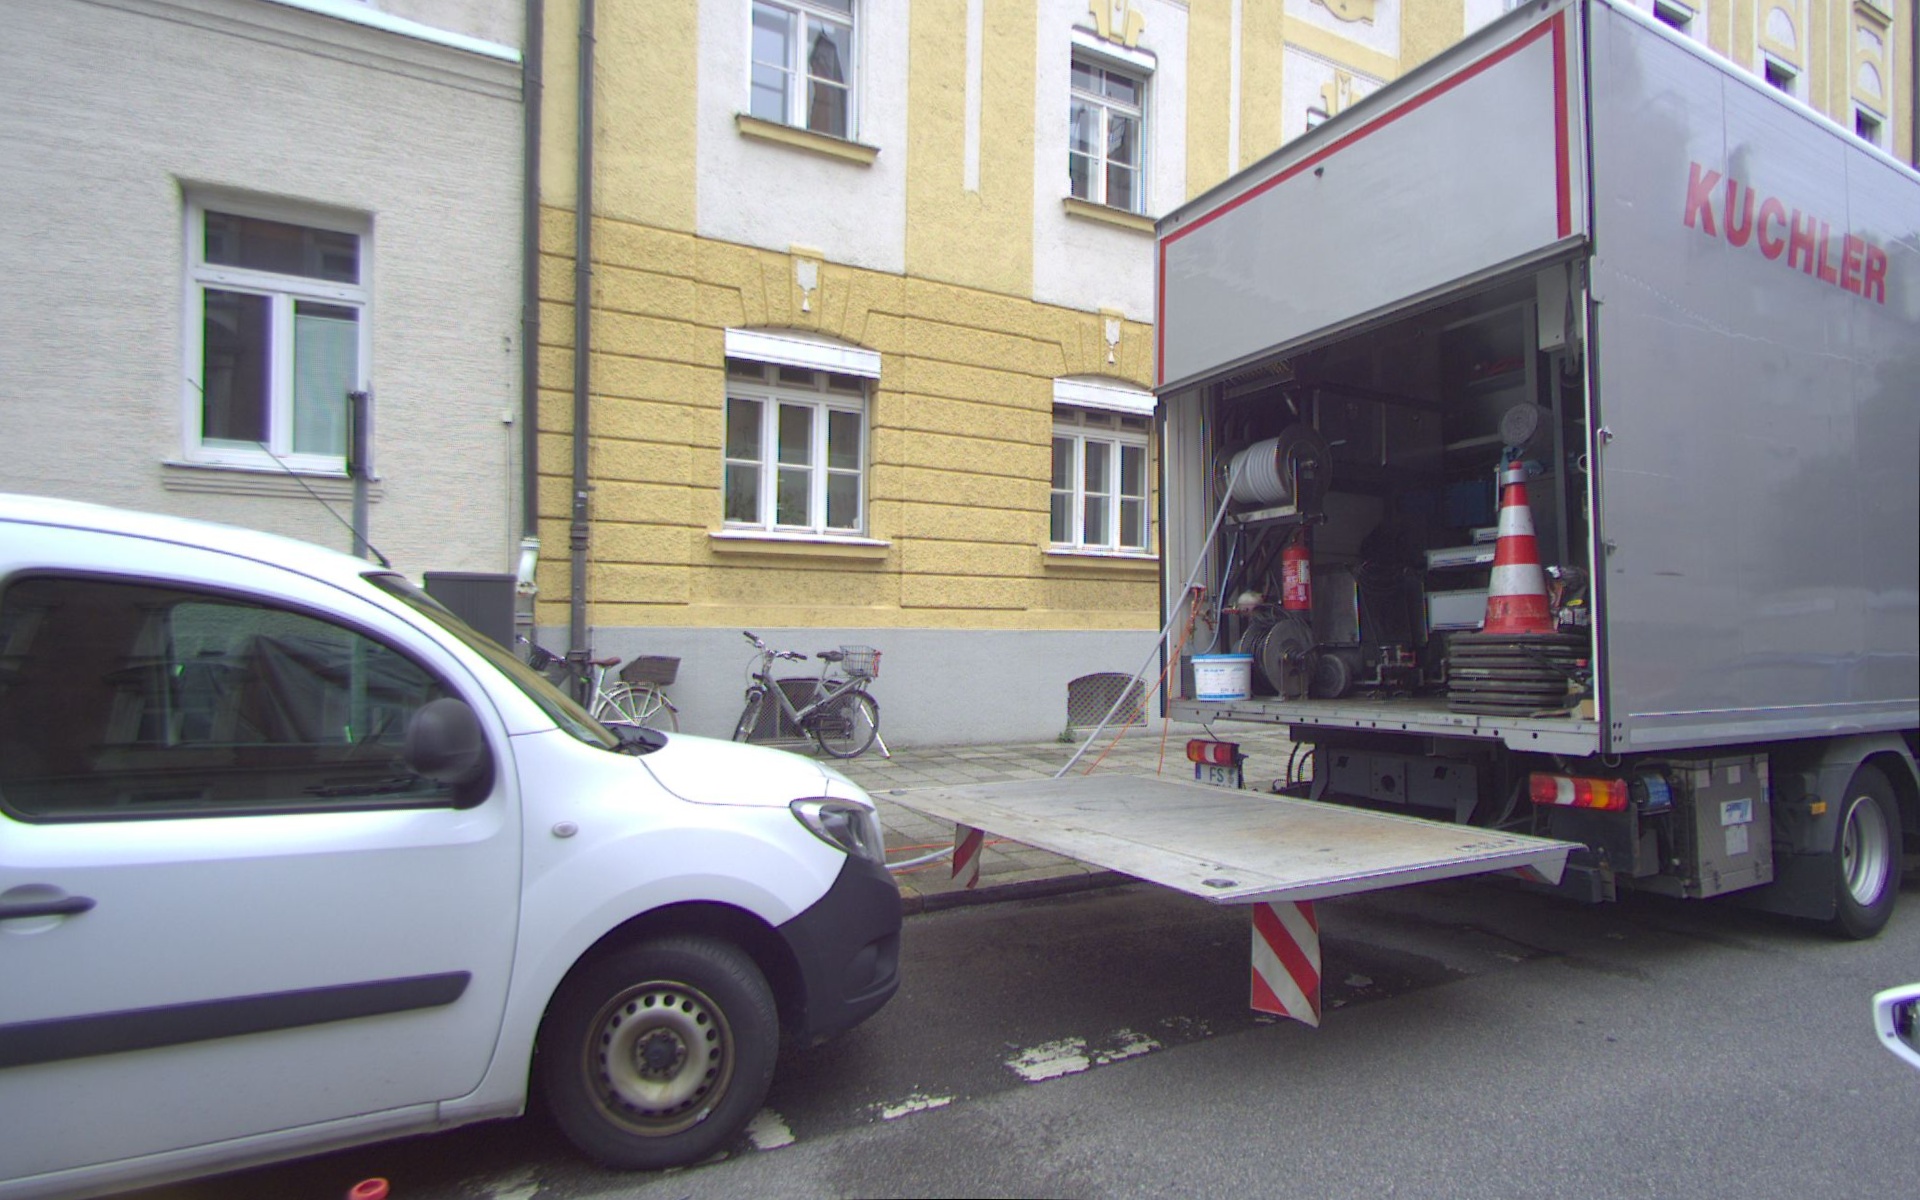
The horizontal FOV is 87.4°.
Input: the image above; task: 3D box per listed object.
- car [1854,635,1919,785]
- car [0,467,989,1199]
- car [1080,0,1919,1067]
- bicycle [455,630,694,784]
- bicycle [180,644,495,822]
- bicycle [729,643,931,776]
[{"bbox_3d":[10.959,1.091,10.122,3.660,1.428,1.693,1,-1,-27],"label":"car"},{"bbox_3d":[-2.194,0.667,2.880,4.271,1.802,1.757,1,-3,-27],"label":"car"},{"bbox_3d":[5.140,-0.278,6.668,8.616,3.868,2.801,1,-1,-29],"label":"car"},{"bbox_3d":[-3.122,0.836,8.194,1.745,1.119,0.504,2,2,-29],"label":"bicycle"},{"bbox_3d":[-4.355,0.879,7.135,1.848,1.119,0.397,2,-1,-39],"label":"bicycle"},{"bbox_3d":[-1.186,0.972,9.292,1.745,1.119,0.605,2,-1,-29],"label":"bicycle"}]
